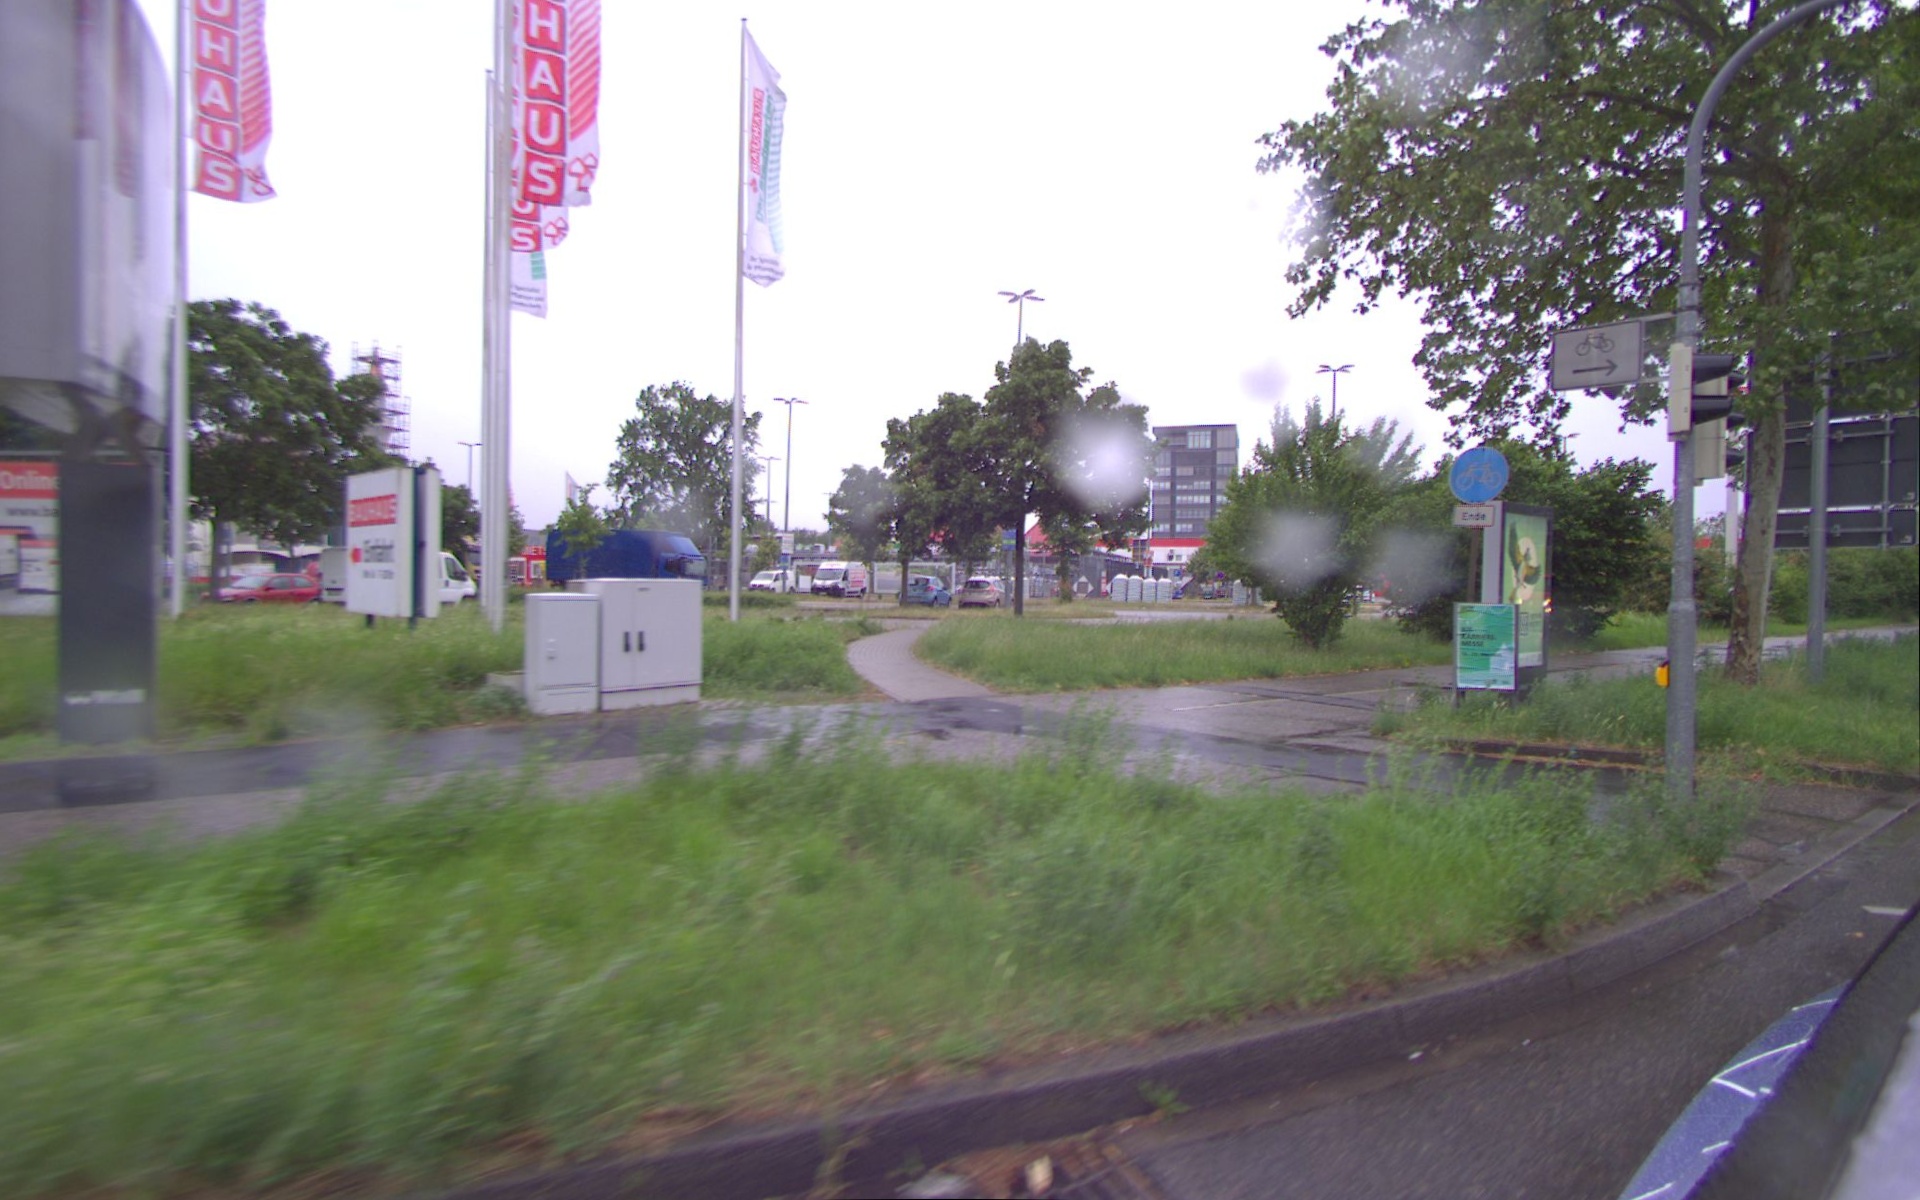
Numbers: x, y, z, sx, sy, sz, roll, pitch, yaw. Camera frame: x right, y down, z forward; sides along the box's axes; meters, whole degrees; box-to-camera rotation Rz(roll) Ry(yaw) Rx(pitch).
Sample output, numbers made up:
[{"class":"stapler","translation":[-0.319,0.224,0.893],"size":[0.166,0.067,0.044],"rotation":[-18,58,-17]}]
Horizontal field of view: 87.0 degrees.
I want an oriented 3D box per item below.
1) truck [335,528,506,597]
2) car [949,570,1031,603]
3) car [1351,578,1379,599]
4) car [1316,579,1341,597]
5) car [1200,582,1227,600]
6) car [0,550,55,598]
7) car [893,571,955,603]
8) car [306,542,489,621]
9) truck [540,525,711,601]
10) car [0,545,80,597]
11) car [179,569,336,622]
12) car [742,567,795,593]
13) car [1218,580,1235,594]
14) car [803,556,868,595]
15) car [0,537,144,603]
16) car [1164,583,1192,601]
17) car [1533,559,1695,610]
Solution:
[{"class":"truck","translation":[-28.909,-1.904,54.152],"size":[9.280,3.514,2.536],"rotation":[0,-1,20]},{"class":"car","translation":[1.321,-0.584,42.836],"size":[1.852,1.308,4.009],"rotation":[1,2,29]},{"class":"car","translation":[31.513,-0.945,78.681],"size":[1.908,1.572,4.240],"rotation":[1,1,23]},{"class":"car","translation":[32.849,-1.068,90.146],"size":[1.908,1.572,4.240],"rotation":[1,1,23]},{"class":"car","translation":[23.574,-0.888,94.043],"size":[1.907,1.572,4.244],"rotation":[1,1,21]},{"class":"car","translation":[-38.639,-1.016,39.156],"size":[2.163,1.859,5.005],"rotation":[1,2,19]},{"class":"car","translation":[-1.538,-0.603,44.585],"size":[1.840,1.308,4.036],"rotation":[1,2,12]},{"class":"car","translation":[-17.251,-0.587,31.387],"size":[2.158,2.231,5.084],"rotation":[0,1,13]},{"class":"truck","translation":[-16.270,-1.763,49.191],"size":[7.908,3.514,2.538],"rotation":[1,0,17]},{"class":"car","translation":[-35.914,-1.076,37.192],"size":[2.163,1.859,5.005],"rotation":[1,2,19]},{"class":"car","translation":[-22.865,-0.203,33.154],"size":[1.969,1.616,3.986],"rotation":[0,1,12]},{"class":"car","translation":[-14.835,-1.554,78.626],"size":[2.028,1.919,4.768],"rotation":[0,1,18]},{"class":"car","translation":[33.370,-1.601,126.773],"size":[1.975,1.698,4.252],"rotation":[0,1,16]},{"class":"car","translation":[-7.860,-1.547,64.607],"size":[2.297,2.390,5.493],"rotation":[0,1,14]},{"class":"car","translation":[-33.135,-1.071,36.140],"size":[2.163,2.231,6.030],"rotation":[1,2,19]},{"class":"car","translation":[20.450,-0.753,94.741],"size":[1.907,1.572,4.244],"rotation":[1,1,21]},{"class":"car","translation":[32.286,-0.790,50.124],"size":[6.405,2.392,2.354],"rotation":[1,2,44]}]
